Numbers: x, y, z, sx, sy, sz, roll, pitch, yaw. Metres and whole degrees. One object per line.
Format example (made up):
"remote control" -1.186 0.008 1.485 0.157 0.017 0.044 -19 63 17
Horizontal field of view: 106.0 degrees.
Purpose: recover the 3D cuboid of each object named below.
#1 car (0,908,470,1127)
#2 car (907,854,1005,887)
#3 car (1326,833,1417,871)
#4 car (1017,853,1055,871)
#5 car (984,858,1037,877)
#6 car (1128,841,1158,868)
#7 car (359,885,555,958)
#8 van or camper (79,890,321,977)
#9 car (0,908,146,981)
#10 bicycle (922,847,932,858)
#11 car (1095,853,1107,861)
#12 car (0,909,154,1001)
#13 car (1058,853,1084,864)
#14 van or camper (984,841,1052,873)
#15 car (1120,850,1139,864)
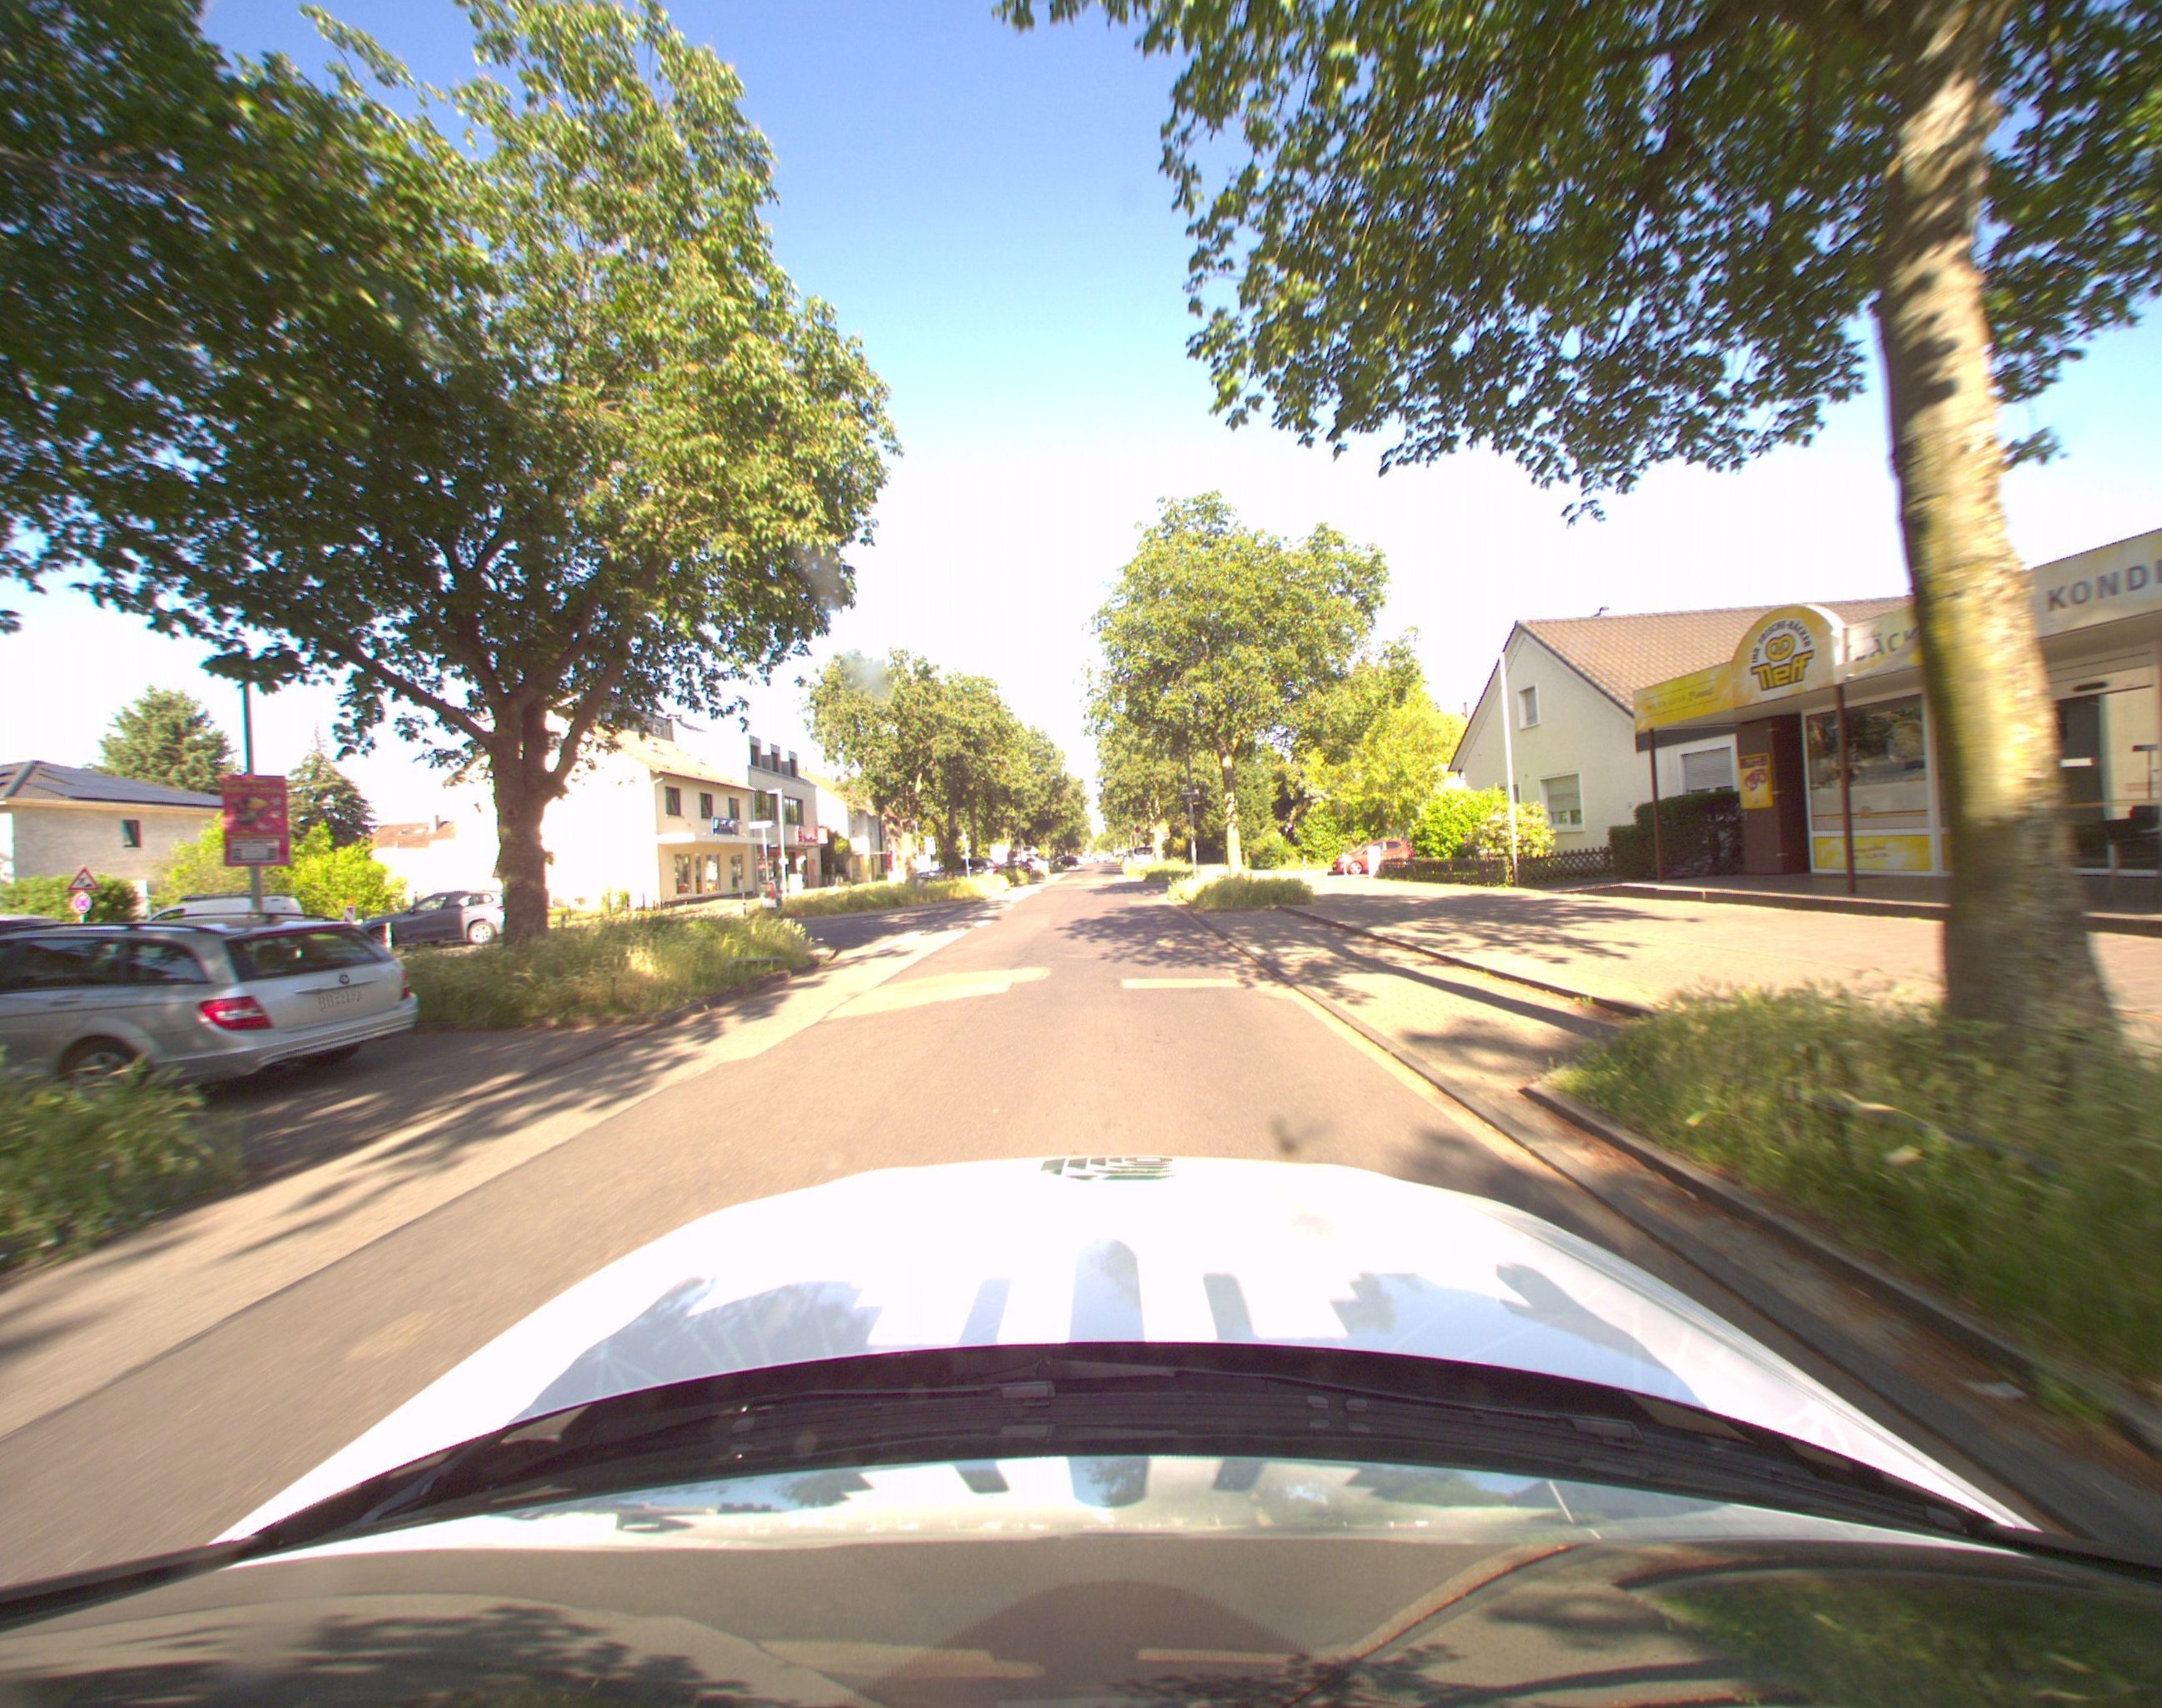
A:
"car" -8.210 1.312 6.990 4.367 1.416 2.000 -2 -1 0
"car" -6.777 0.911 44.531 5.049 1.728 1.998 0 -1 -3
"car" 13.338 -0.100 37.526 3.532 1.510 1.638 -3 1 -3
"car" -4.865 0.878 89.197 3.974 1.660 1.967 -3 0 0
"car" -5.685 1.058 65.646 3.968 1.450 1.641 -1 -1 4
"car" 4.789 0.040 63.543 1.987 2.014 5.196 0 -1 0
"car" -18.143 1.929 23.859 3.981 1.638 1.997 -5 0 -5
"van or camper" -25.451 2.258 23.668 4.659 2.013 1.999 -4 0 -1
"car" -30.102 2.620 23.530 3.969 1.830 2.003 -3 0 4
"bicycle" -17.882 -0.193 94.462 0.705 1.176 4.036 -4 0 -15
"car" 3.899 0.600 162.599 1.991 1.508 3.651 0 -1 -6
"car" -20.358 1.917 14.589 1.989 1.563 4.902 -4 -2 -3
"car" -1.658 0.763 137.399 4.190 1.455 2.003 -3 0 5
"van or camper" -5.588 0.264 72.472 5.751 2.805 2.002 0 -1 3
"car" 6.053 0.376 101.156 1.982 1.510 4.009 -5 -1 8
